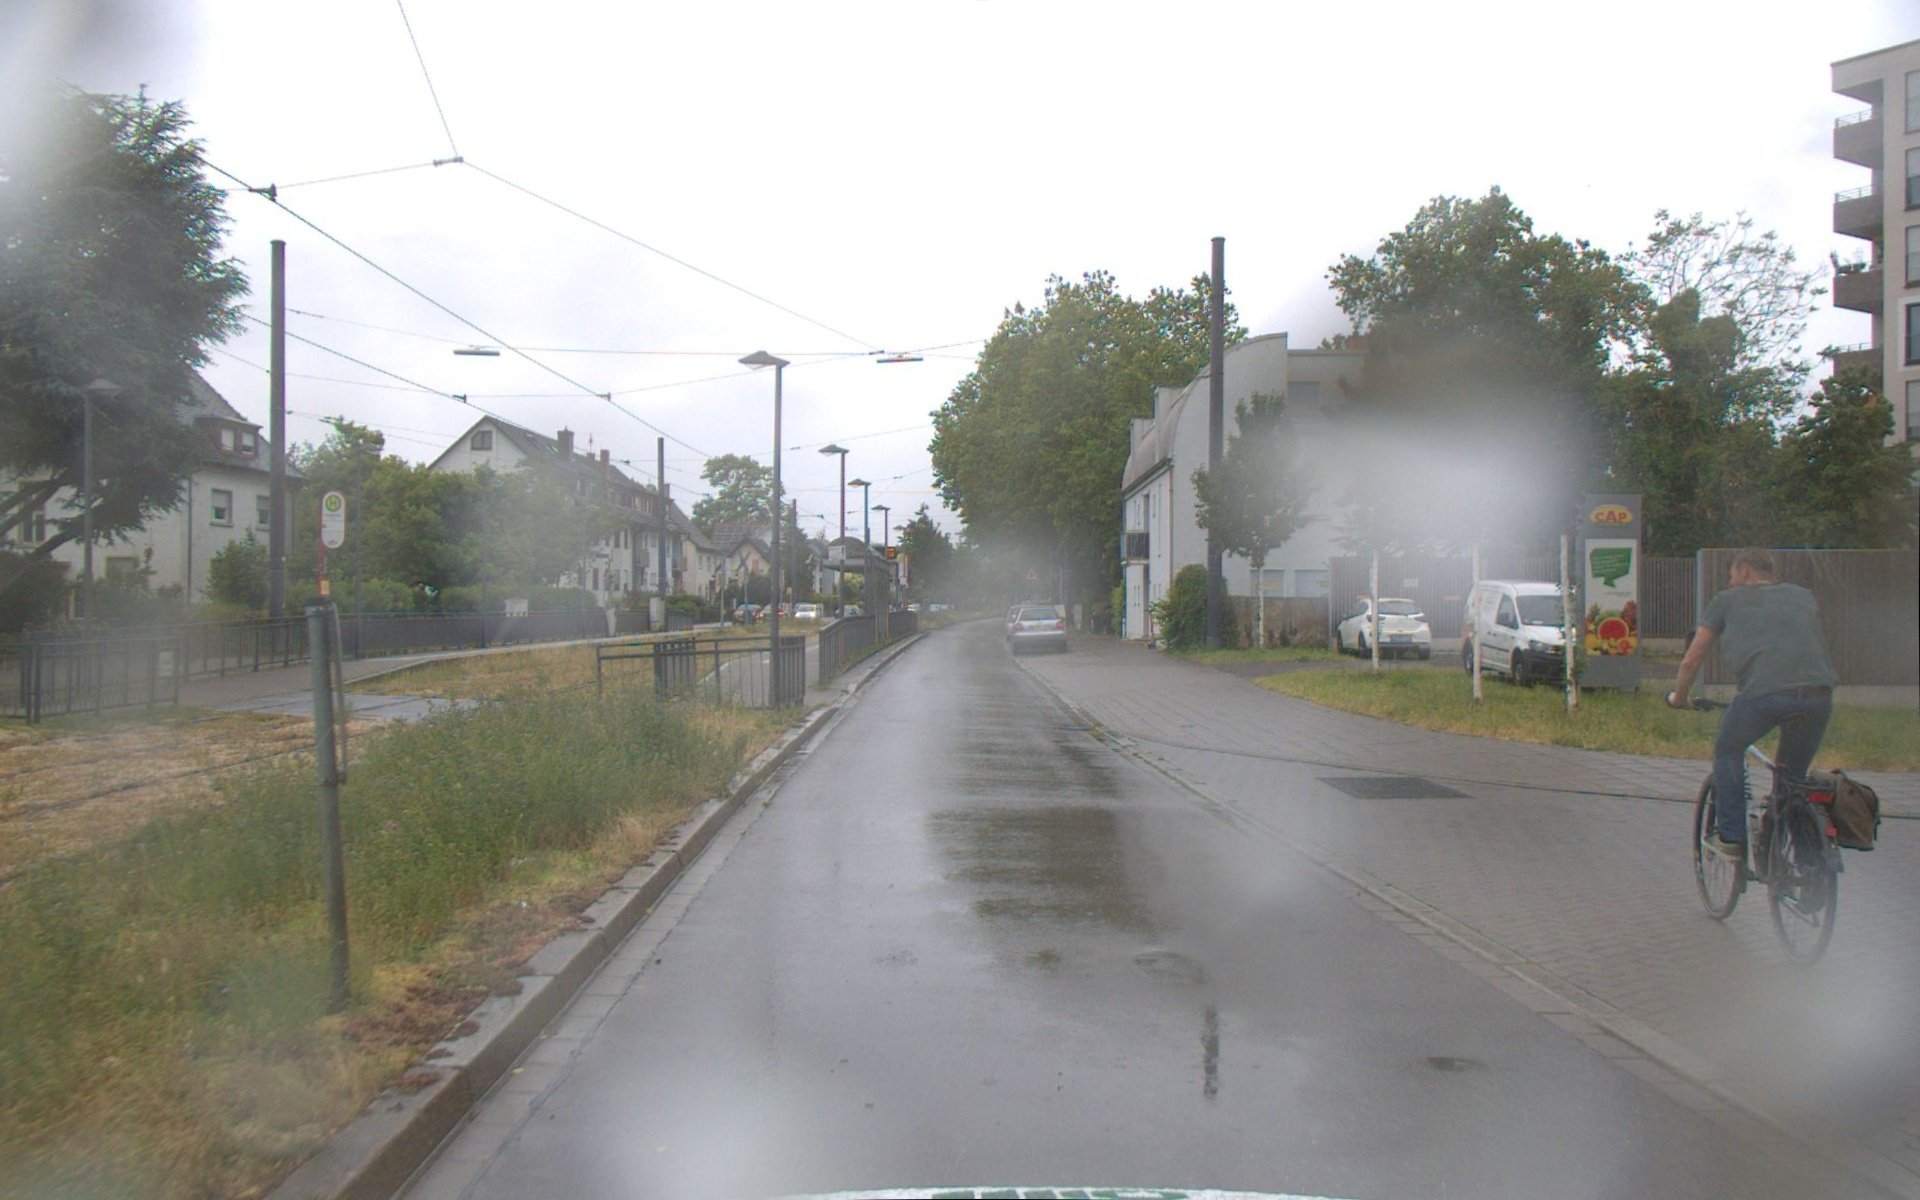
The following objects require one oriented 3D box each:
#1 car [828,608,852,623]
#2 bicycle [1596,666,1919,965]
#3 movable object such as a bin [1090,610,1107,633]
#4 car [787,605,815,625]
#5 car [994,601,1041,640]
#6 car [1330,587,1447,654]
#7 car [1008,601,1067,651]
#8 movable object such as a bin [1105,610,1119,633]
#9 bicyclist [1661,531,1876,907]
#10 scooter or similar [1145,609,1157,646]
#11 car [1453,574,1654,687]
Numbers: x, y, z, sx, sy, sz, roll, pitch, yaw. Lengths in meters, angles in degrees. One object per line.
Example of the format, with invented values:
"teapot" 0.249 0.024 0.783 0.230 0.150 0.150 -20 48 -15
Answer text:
"car" -12.378 1.578 170.989 1.888 1.512 4.001 1 -1 4
"bicycle" 3.591 0.879 7.428 0.526 1.112 1.945 1 -1 -7
"movable object such as a bin" 6.515 1.005 77.886 0.678 1.040 0.824 -2 -1 0
"car" -12.109 1.155 126.221 1.599 1.519 4.000 1 -1 1
"car" 2.366 0.861 68.635 1.770 1.493 3.794 -3 -1 1
"car" 10.776 0.479 41.898 1.922 1.561 4.365 1 0 2
"car" 2.413 0.835 52.399 1.616 1.430 4.649 -3 -1 1
"movable object such as a bin" 7.096 1.008 77.188 0.525 1.040 0.738 -2 -1 0
"bicyclist" 3.601 0.510 7.412 0.524 1.587 0.771 1 -1 -8
"scooter or similar" 5.932 0.857 51.278 0.326 1.104 1.396 1 -1 6
"car" 10.411 0.480 29.429 1.922 1.815 4.898 1 0 2
